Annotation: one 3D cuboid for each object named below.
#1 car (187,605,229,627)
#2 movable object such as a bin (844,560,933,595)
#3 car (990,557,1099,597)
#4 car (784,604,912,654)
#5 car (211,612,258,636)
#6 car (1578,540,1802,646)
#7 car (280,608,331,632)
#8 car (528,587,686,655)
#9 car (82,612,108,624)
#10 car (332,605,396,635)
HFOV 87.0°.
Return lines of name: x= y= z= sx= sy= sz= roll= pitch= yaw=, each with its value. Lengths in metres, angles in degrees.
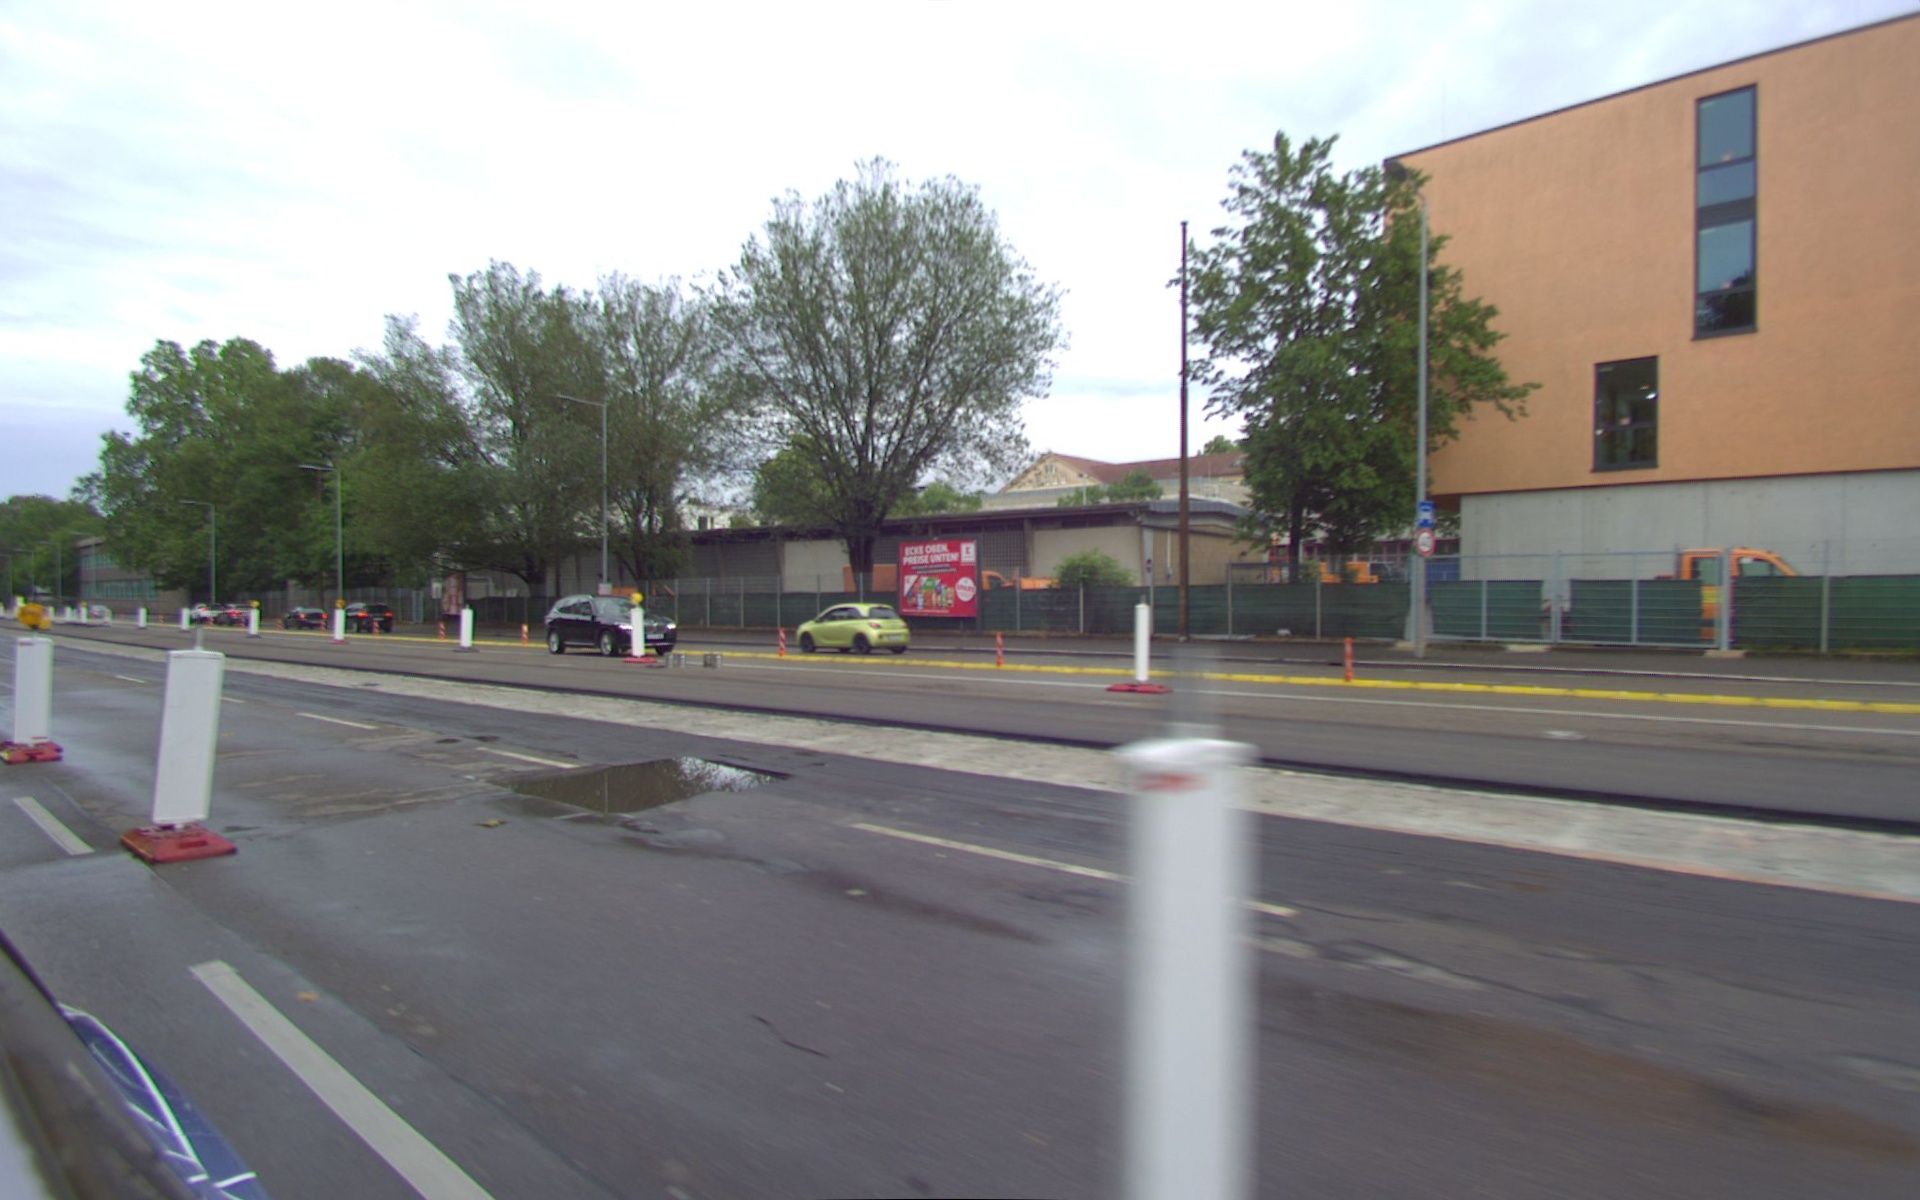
car: x=-60.271 y=1.297 z=81.134 sx=4.364 sy=1.719 sz=1.839 roll=0 pitch=-2 yaw=42
movable object such as a bin: x=-3.275 y=-1.006 z=46.196 sx=3.961 sy=1.539 sz=1.755 roll=-1 pitch=0 yaw=-5
car: x=3.376 y=-0.907 z=40.714 sx=3.958 sy=1.539 sz=2.004 roll=-1 pitch=0 yaw=-10
car: x=-3.321 y=0.830 z=29.650 sx=3.803 sy=1.378 sz=1.537 roll=0 pitch=-1 yaw=41
car: x=-52.358 y=1.712 z=72.993 sx=4.364 sy=1.631 sz=1.839 roll=0 pitch=-2 yaw=42
car: x=16.405 y=-0.134 z=22.848 sx=3.997 sy=2.187 sz=1.593 roll=-1 pitch=0 yaw=41
car: x=-41.847 y=1.272 z=64.689 sx=3.731 sy=1.487 sz=1.839 roll=0 pitch=-2 yaw=42
car: x=-9.802 y=0.606 z=27.891 sx=4.983 sy=1.719 sz=1.972 roll=-1 pitch=-3 yaw=43
car: x=-96.806 y=1.991 z=113.236 sx=4.454 sy=1.325 sz=1.649 roll=0 pitch=-2 yaw=42
car: x=-33.545 y=1.104 z=56.897 sx=4.328 sy=1.642 sz=1.839 roll=0 pitch=-2 yaw=42
